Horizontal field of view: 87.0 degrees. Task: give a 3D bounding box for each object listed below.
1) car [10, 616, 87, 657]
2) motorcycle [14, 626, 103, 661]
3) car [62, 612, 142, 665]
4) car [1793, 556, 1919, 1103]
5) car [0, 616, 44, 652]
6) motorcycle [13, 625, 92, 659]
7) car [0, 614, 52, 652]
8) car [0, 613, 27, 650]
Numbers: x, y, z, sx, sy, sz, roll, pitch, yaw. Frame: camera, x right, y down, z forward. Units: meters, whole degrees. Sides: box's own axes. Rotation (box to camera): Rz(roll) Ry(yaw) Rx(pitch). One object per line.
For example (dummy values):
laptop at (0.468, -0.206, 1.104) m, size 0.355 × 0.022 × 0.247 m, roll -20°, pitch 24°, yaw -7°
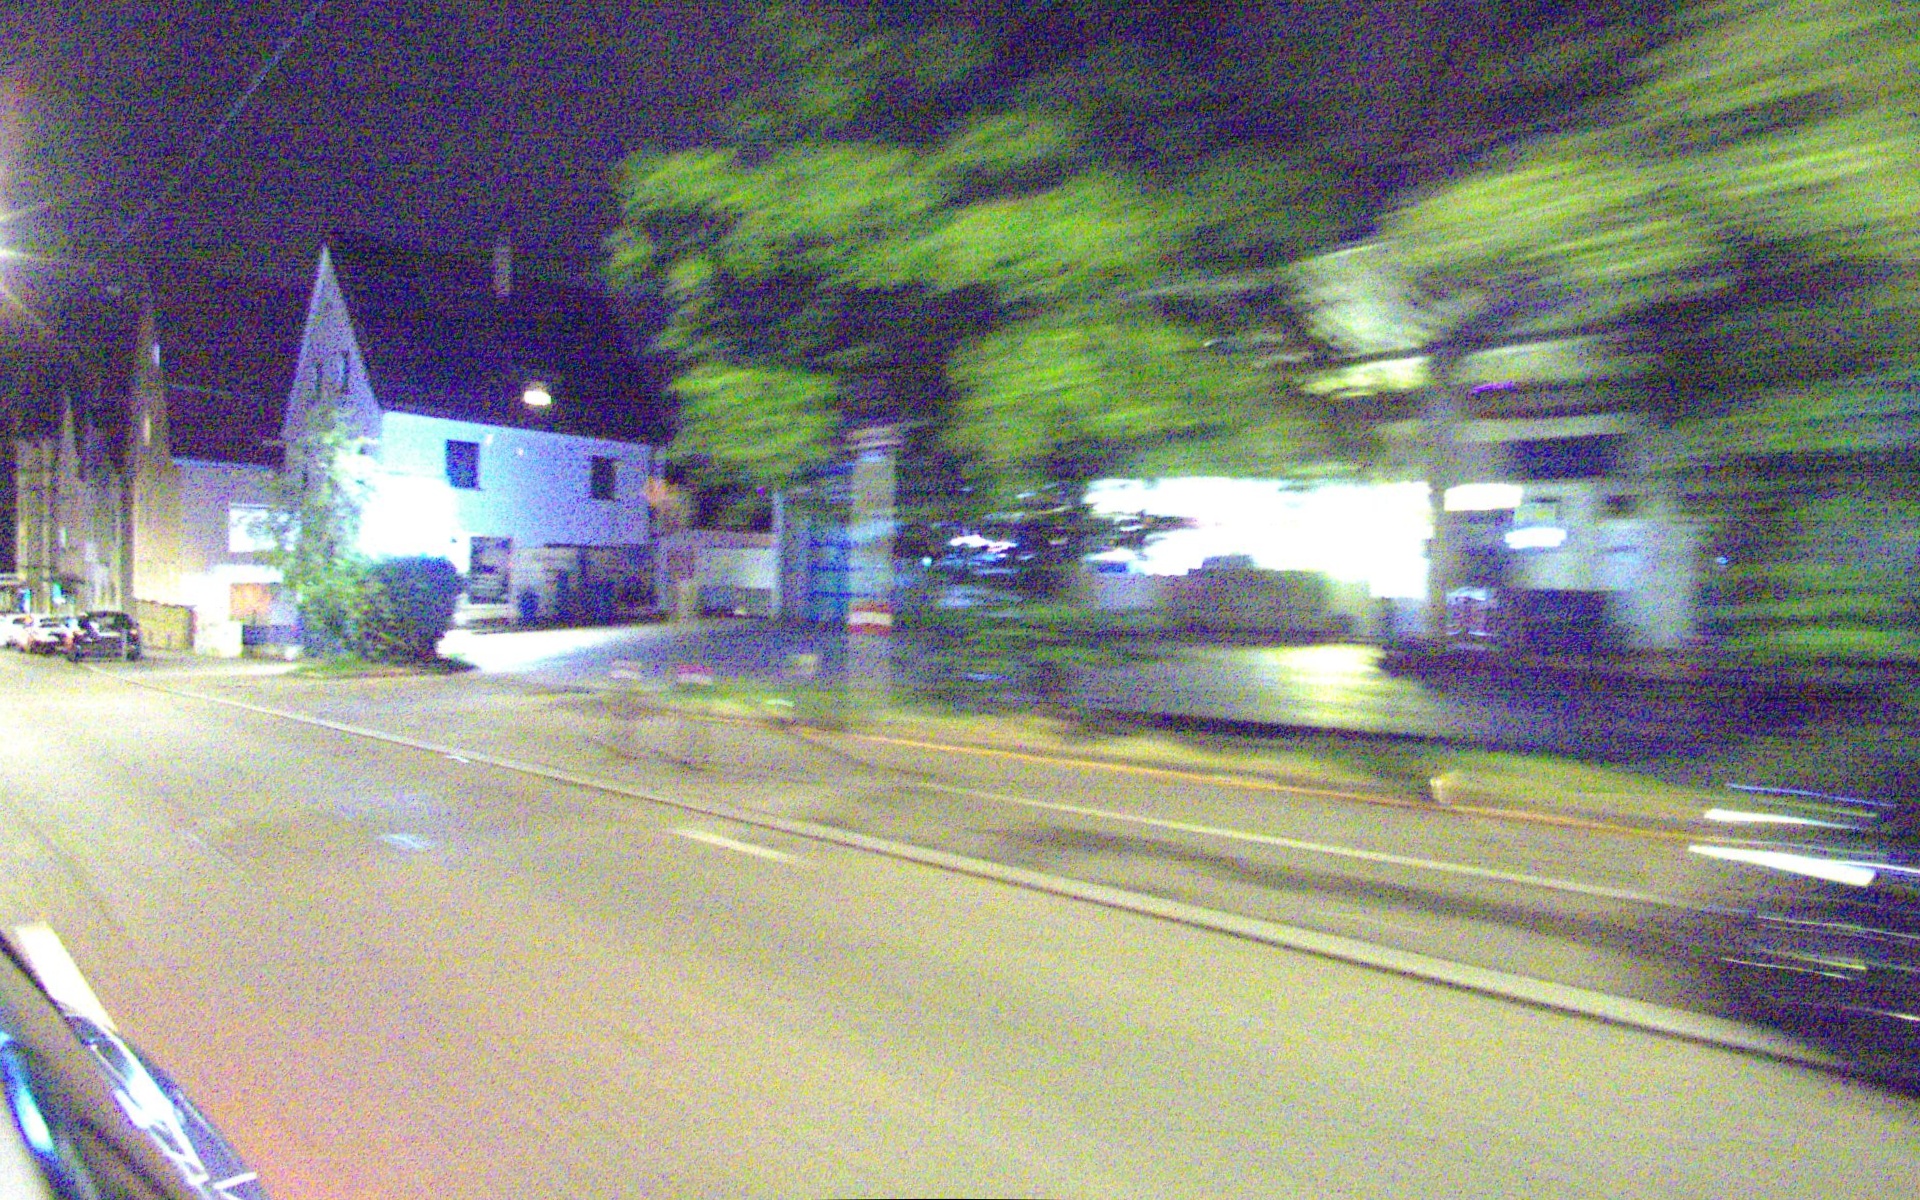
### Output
car at (-34.788, 1.370, 38.599) m, size 4.226 × 1.503 × 1.686 m, roll -1°, pitch -2°, yaw 41°
motorcycle at (-30.668, 1.459, 34.448) m, size 2.171 × 1.139 × 0.718 m, roll 0°, pitch -1°, yaw -15°
car at (-26.384, 1.135, 31.099) m, size 2.766 × 1.509 × 1.620 m, roll 0°, pitch 0°, yaw 44°
car at (4.473, 0.559, 2.097) m, size 4.189 × 1.448 × 1.703 m, roll -1°, pitch 0°, yaw 41°
car at (-44.161, 1.570, 47.068) m, size 4.279 × 1.503 × 1.844 m, roll 0°, pitch 1°, yaw 41°
motorcycle at (-32.125, 1.475, 35.847) m, size 2.178 × 1.156 × 0.716 m, roll -1°, pitch -1°, yaw 0°
car at (-40.945, 1.422, 44.095) m, size 3.779 × 1.503 × 1.604 m, roll 0°, pitch 1°, yaw 41°
car at (-50.064, 1.626, 52.683) m, size 4.001 × 1.763 × 1.971 m, roll 0°, pitch 1°, yaw 44°
